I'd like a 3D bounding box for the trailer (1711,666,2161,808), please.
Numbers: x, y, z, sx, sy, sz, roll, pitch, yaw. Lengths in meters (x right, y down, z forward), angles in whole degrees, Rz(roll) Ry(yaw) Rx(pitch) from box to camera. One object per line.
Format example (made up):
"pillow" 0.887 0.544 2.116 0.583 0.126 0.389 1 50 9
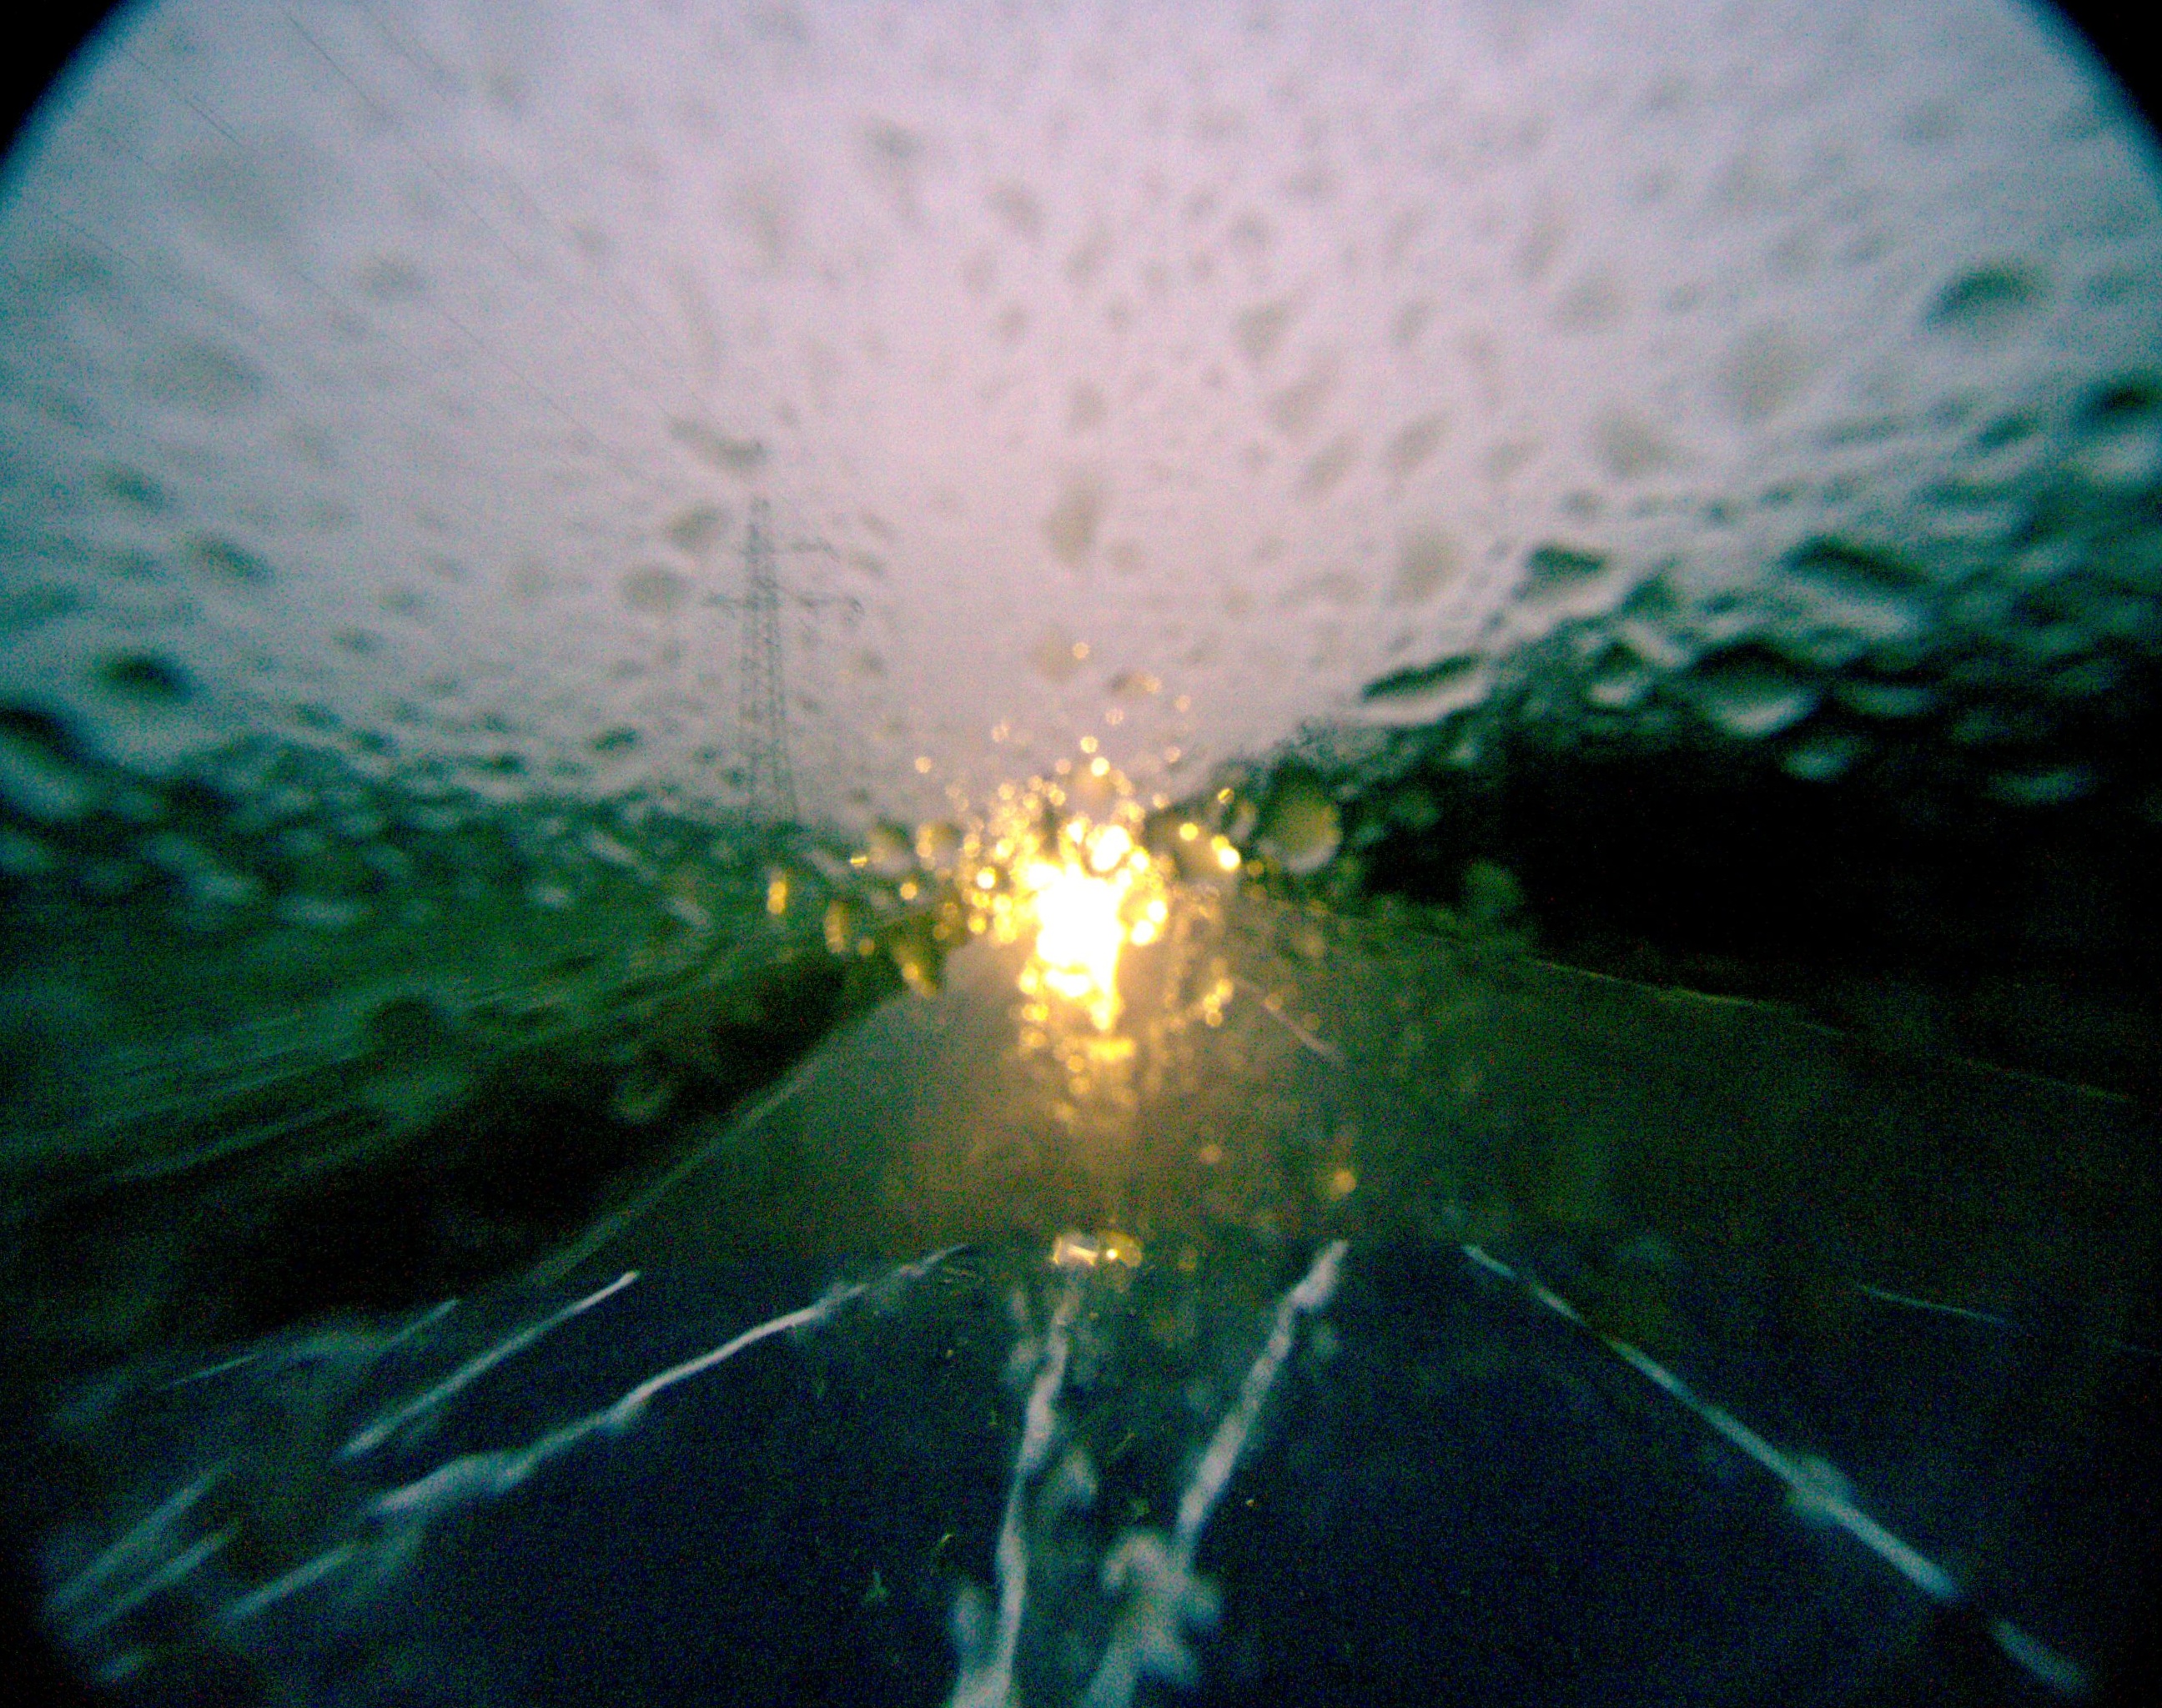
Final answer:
"trailer" 26.087 -3.257 24.485 2.442 2.874 11.084 -1 0 0

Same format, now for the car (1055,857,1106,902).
"car" 0.064 0.992 31.365 1.910 1.653 4.000 -1 0 2

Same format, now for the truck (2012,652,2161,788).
"truck" 26.034 -3.222 17.455 2.456 2.870 5.583 -1 1 0
